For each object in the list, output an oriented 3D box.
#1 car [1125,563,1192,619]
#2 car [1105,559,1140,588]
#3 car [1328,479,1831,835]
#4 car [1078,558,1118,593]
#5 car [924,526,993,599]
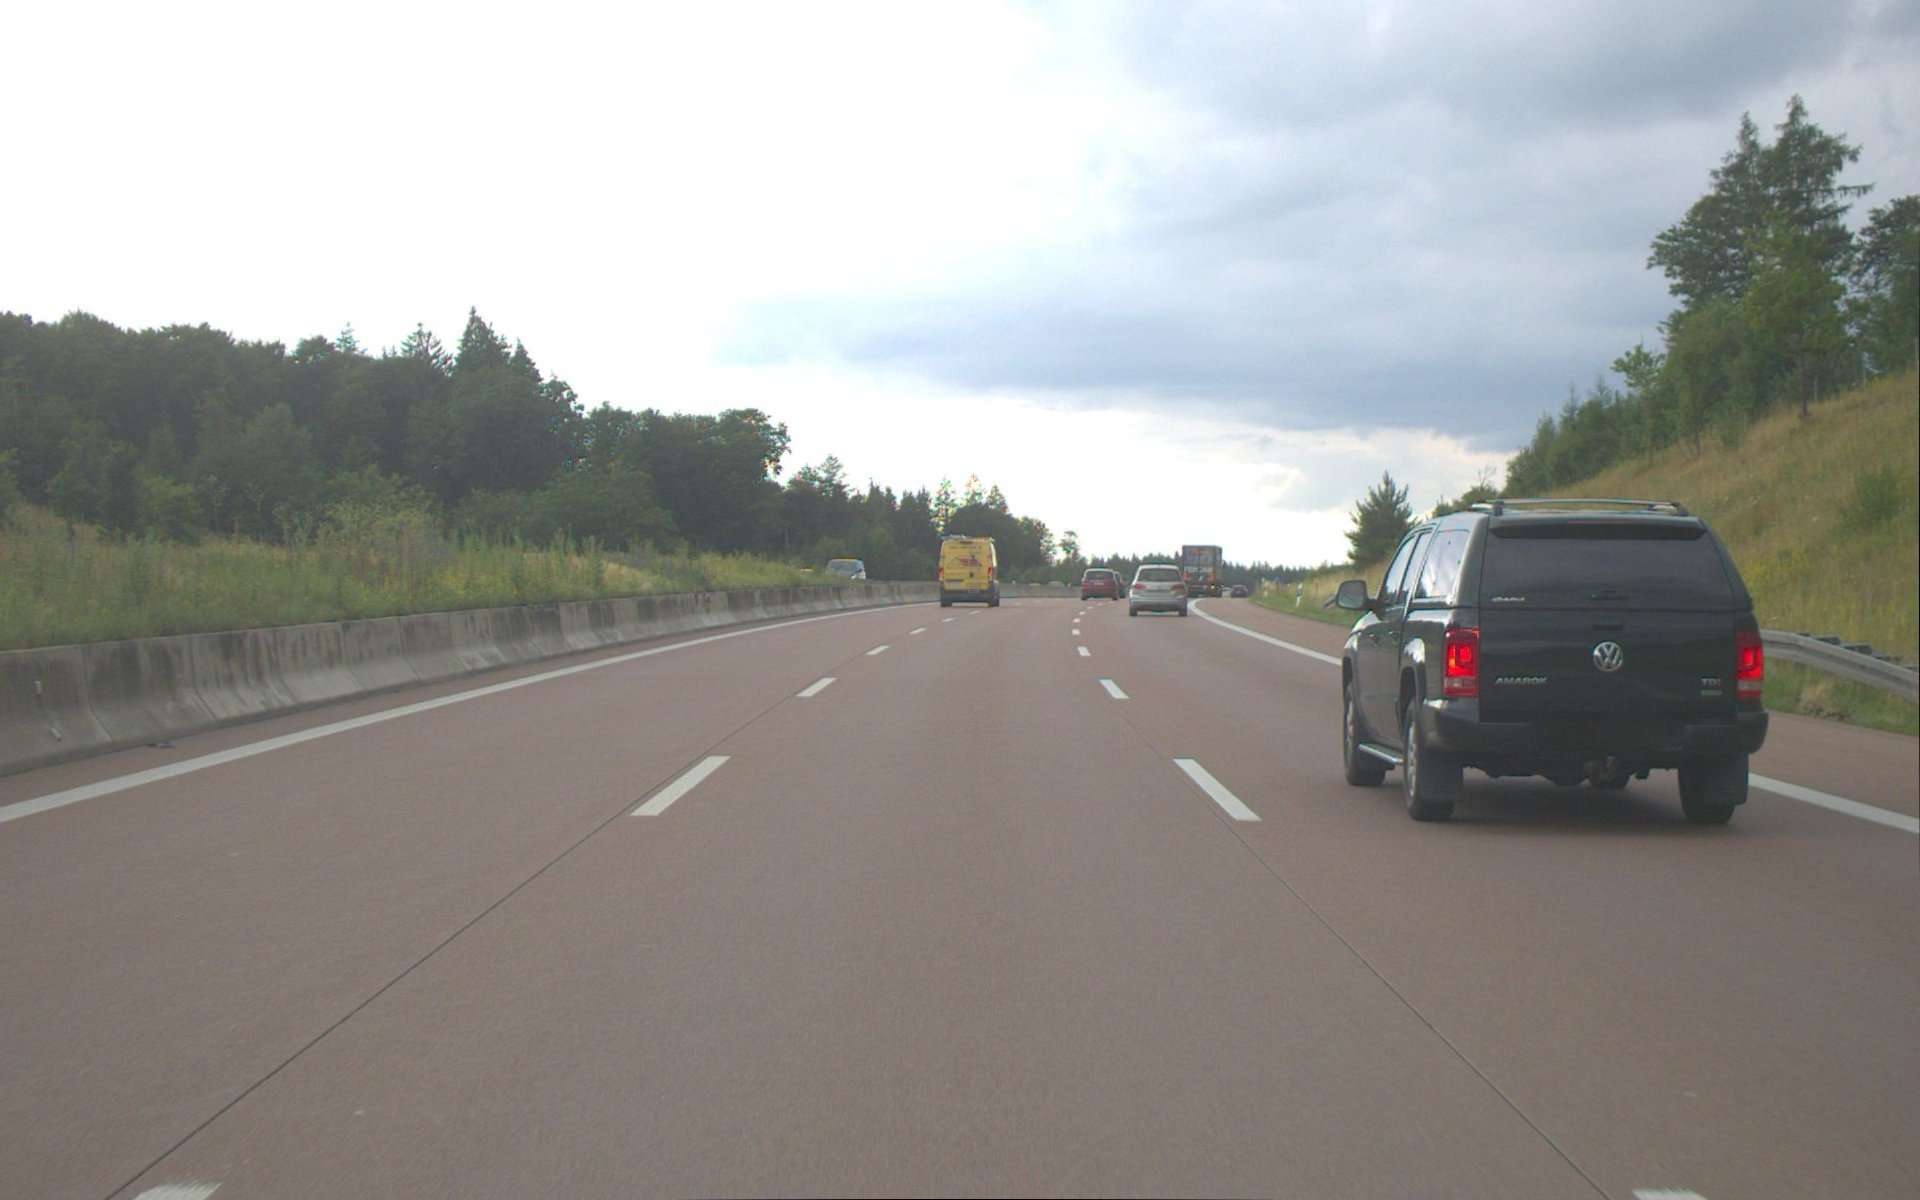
[{"bbox_3d":[6.082,-0.279,105.671,1.978,1.642,4.619,1,0,2],"label":"car"},{"bbox_3d":[9.878,-1.591,208.543,1.888,1.758,4.996,0,0,5],"label":"car"},{"bbox_3d":[3.609,0.302,21.149,2.044,1.890,5.577,0,0,0],"label":"car"},{"bbox_3d":[7.168,-1.255,178.606,1.888,1.758,4.781,0,0,4],"label":"car"},{"bbox_3d":[-0.031,-1.396,130.929,2.458,2.697,5.613,0,0,1],"label":"car"}]
